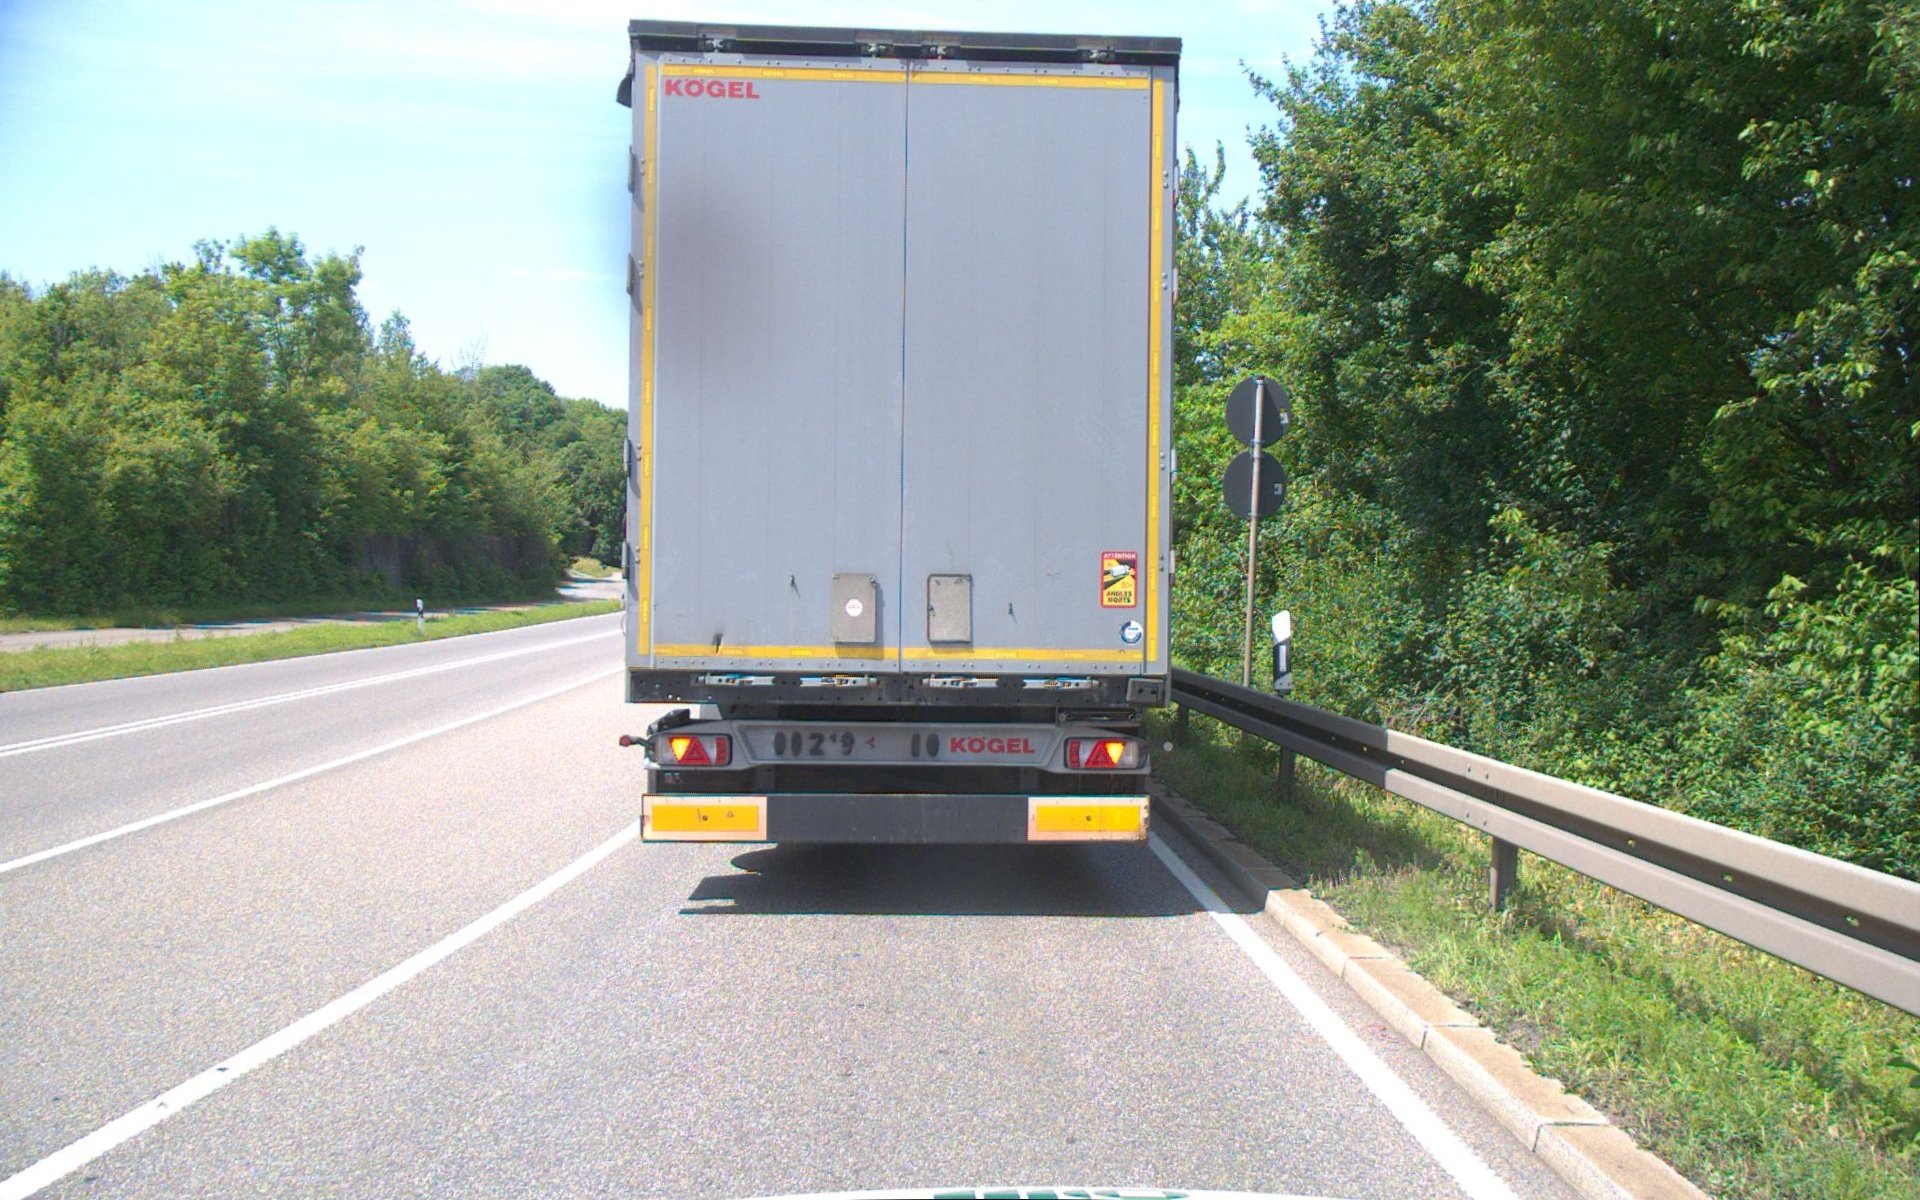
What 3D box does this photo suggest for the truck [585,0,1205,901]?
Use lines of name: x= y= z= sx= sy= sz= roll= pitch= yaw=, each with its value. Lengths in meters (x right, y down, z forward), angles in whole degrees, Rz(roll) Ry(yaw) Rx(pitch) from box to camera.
truck: x=-0.434 y=-0.774 z=13.255 sx=2.701 sy=4.100 sz=11.920 roll=0 pitch=0 yaw=-2
